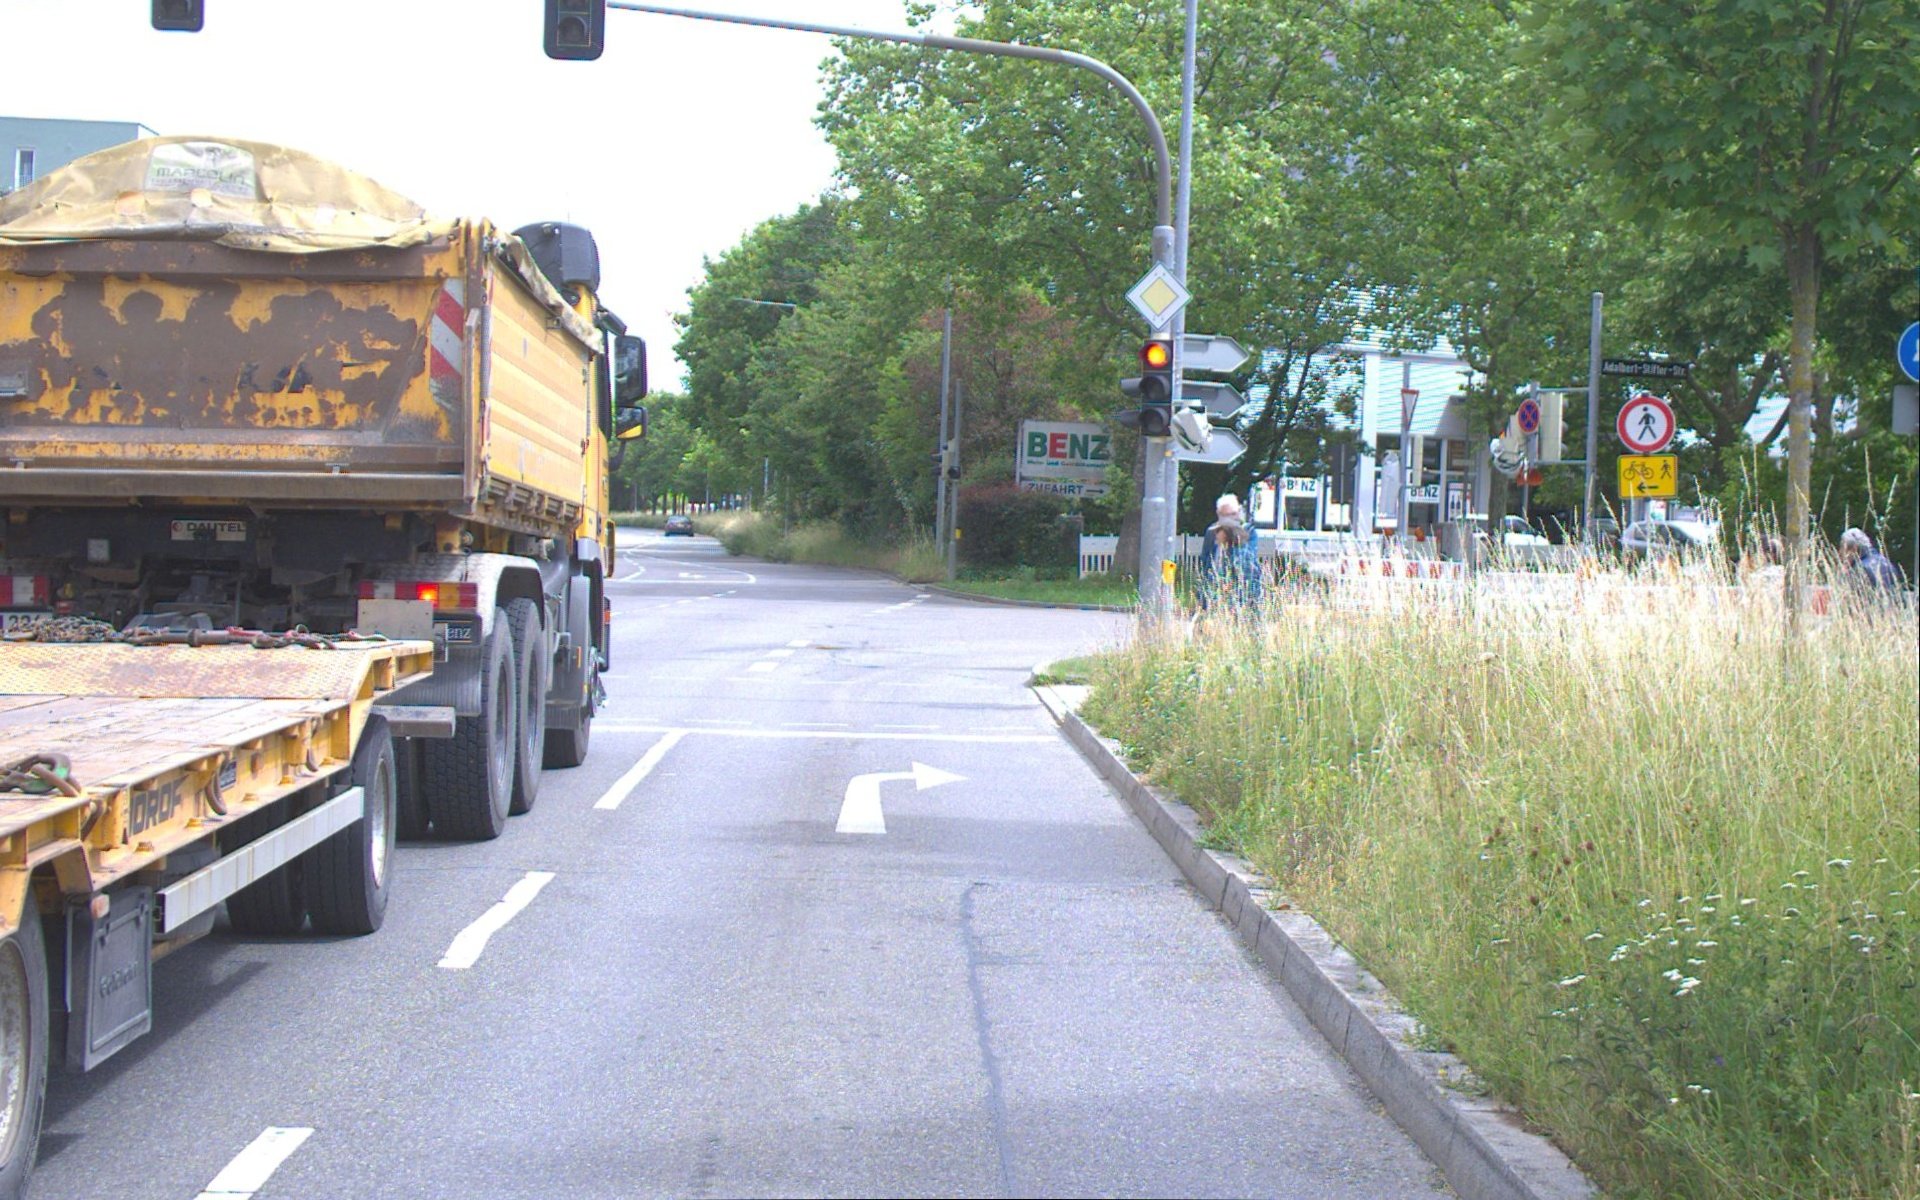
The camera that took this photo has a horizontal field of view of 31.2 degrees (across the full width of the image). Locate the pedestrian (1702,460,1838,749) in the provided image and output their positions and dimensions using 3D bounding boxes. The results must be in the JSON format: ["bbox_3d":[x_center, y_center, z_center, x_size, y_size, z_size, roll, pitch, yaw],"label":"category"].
[{"bbox_3d":[5.767,0.030,24.503,0.671,2.007,0.635,2,0,-10],"label":"pedestrian"}]

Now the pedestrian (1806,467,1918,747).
[{"bbox_3d":[6.564,0.049,25.035,0.561,2.007,0.492,2,0,-10],"label":"pedestrian"}]

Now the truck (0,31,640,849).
[{"bbox_3d":[-3.437,-0.760,18.377,2.753,3.302,8.352,2,1,-1],"label":"truck"}]

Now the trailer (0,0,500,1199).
[{"bbox_3d":[-3.206,-0.654,8.574,2.729,3.546,11.255,2,1,-1],"label":"trailer"}]

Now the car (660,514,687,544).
[{"bbox_3d":[-19.259,-4.759,230.850,1.689,1.919,4.001,2,1,-6],"label":"car"}]

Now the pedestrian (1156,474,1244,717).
[{"bbox_3d":[2.008,-0.040,28.856,0.561,2.007,0.492,2,0,-10],"label":"pedestrian"}]
